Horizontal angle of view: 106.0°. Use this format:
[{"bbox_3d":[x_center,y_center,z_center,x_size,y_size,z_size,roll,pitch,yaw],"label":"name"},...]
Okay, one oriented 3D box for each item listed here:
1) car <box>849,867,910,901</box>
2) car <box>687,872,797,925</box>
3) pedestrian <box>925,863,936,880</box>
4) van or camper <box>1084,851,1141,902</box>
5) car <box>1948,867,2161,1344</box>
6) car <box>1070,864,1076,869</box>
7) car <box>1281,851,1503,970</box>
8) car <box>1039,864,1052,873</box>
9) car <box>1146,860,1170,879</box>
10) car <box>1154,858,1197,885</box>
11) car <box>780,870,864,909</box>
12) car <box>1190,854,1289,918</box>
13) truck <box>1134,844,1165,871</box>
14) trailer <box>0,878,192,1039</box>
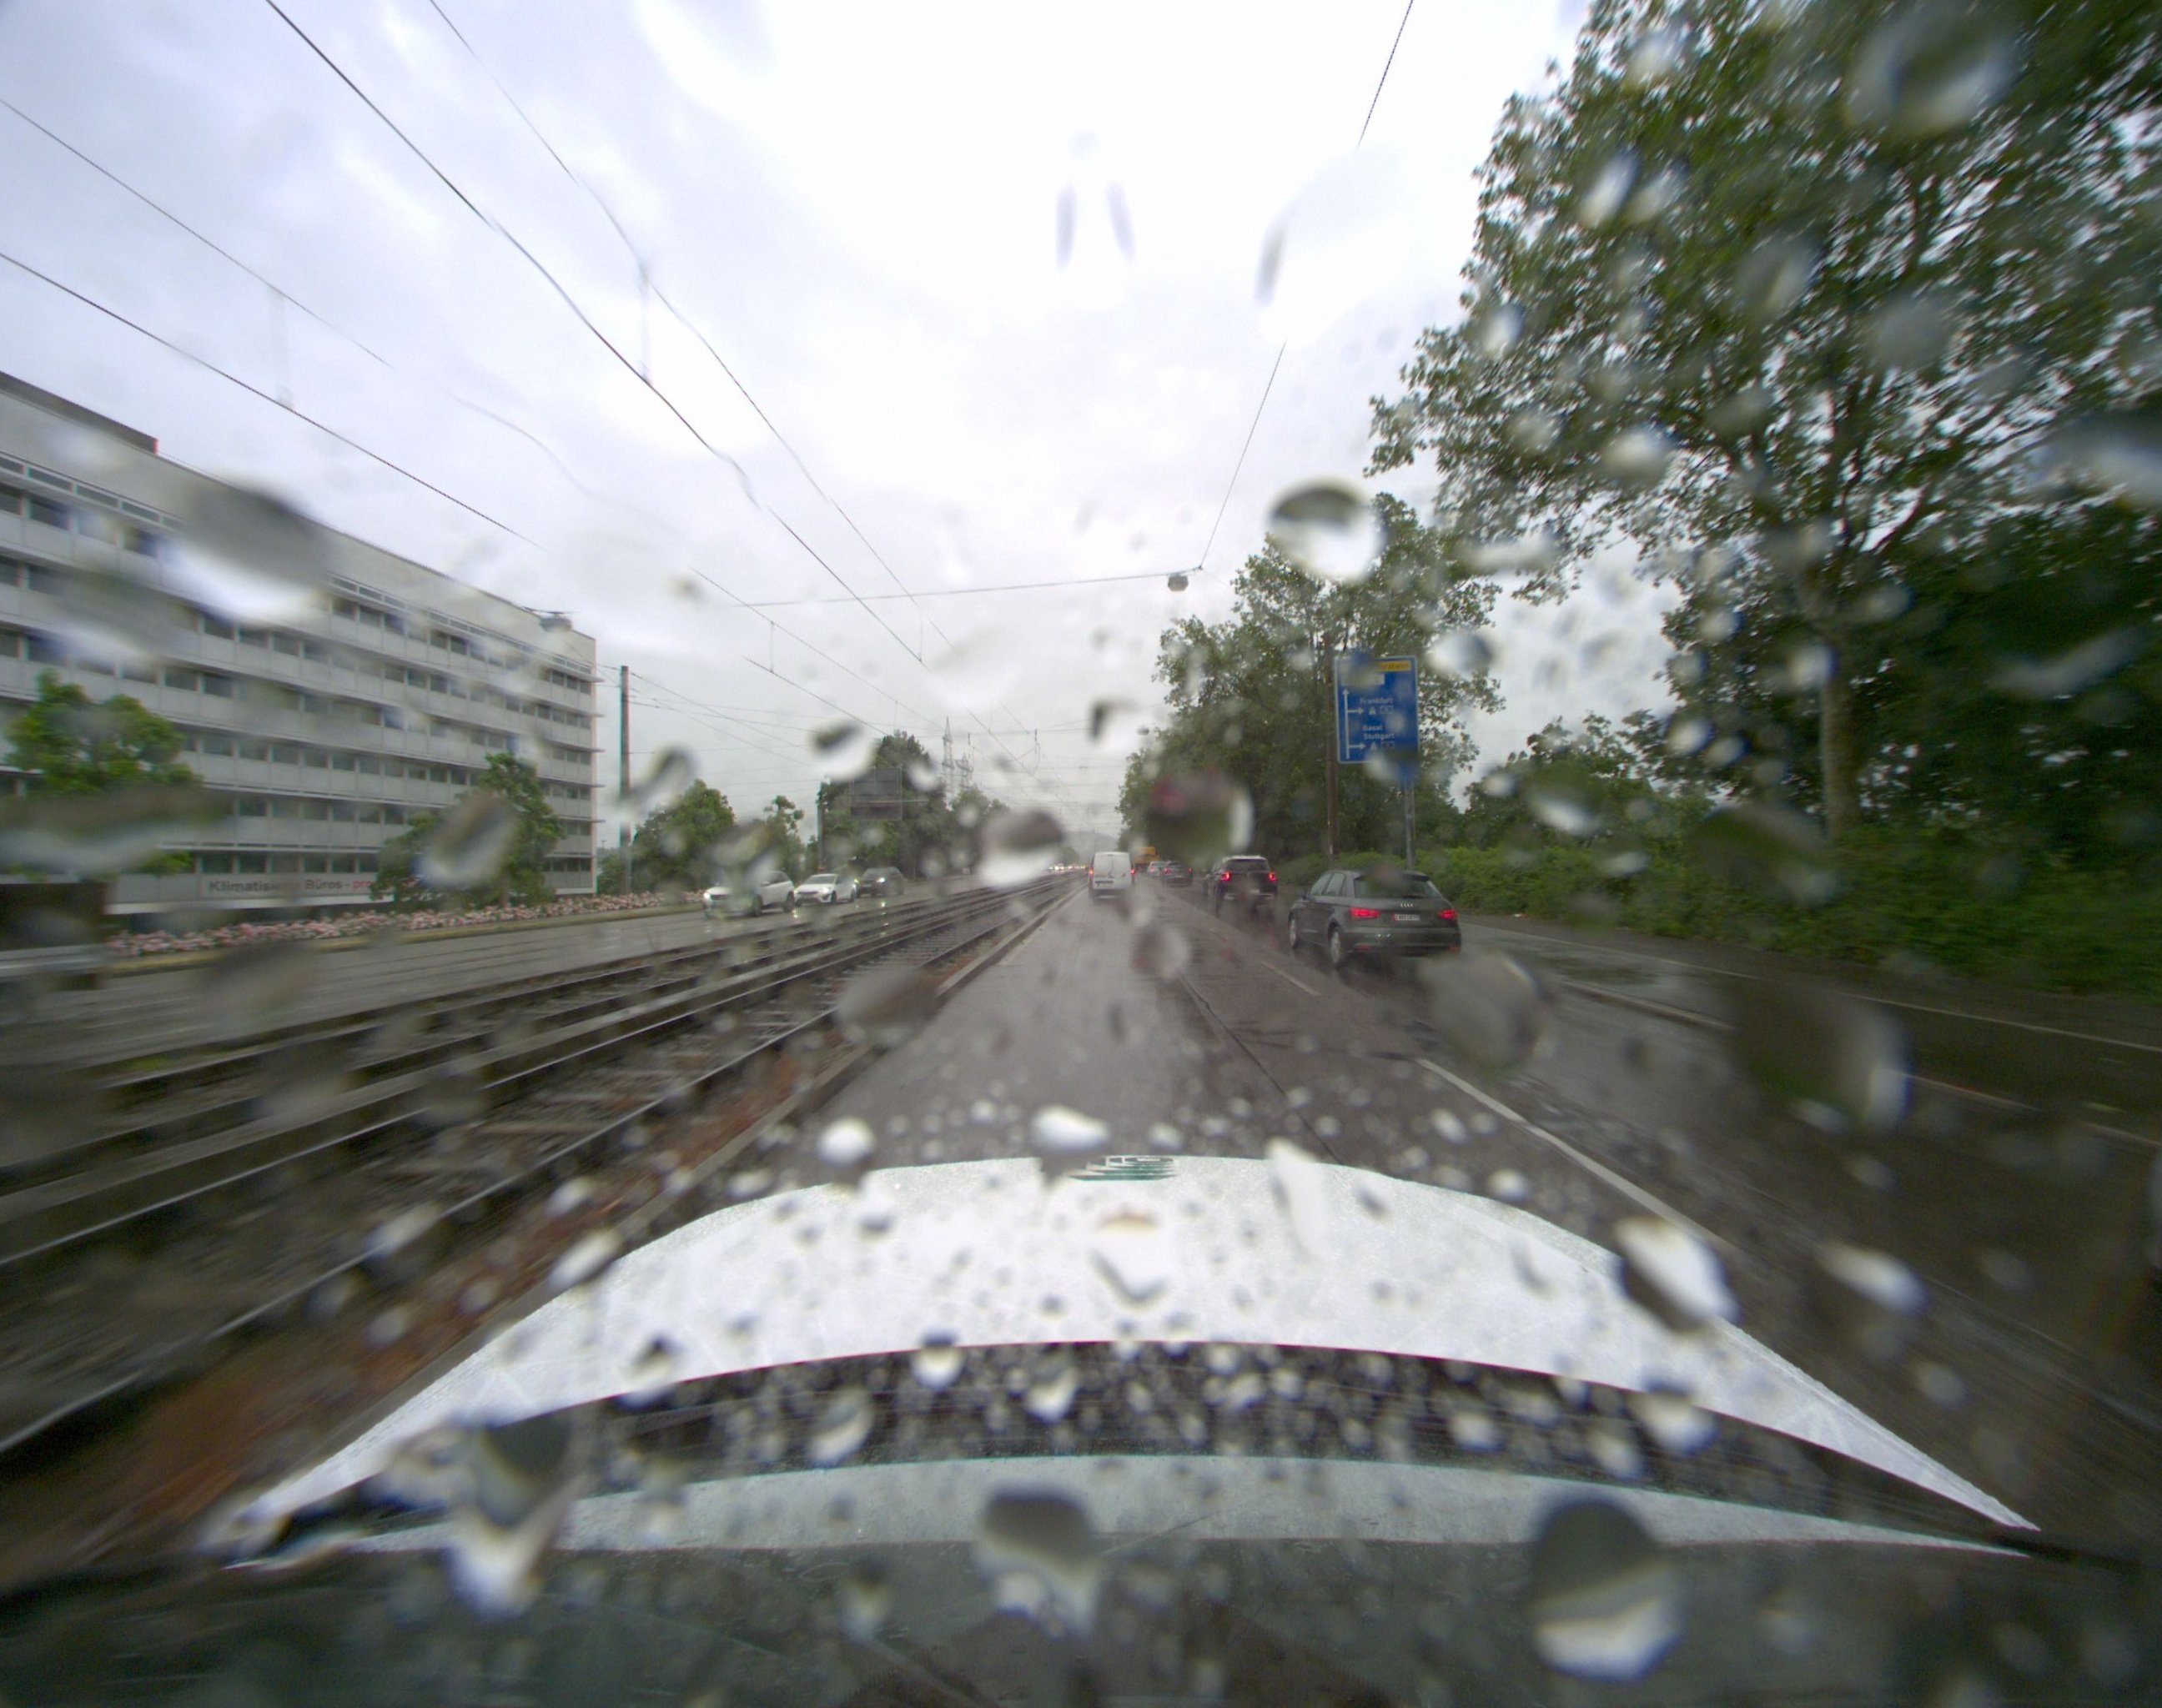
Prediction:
[{"bbox_3d":[-11.431,1.641,46.517,1.985,1.721,4.885,-2,0,3],"label":"car"},{"bbox_3d":[-12.273,1.549,29.830,1.763,1.683,4.694,1,-1,4],"label":"car"},{"bbox_3d":[-16.136,1.836,87.253,0.848,1.759,1.121,-2,-1,2],"label":"pedestrian"},{"bbox_3d":[1.127,0.785,31.000,1.987,1.784,4.000,0,1,0],"label":"van or camper"},{"bbox_3d":[4.089,0.742,1.108,1.785,1.414,3.854,2,-1,1],"label":"car"},{"bbox_3d":[-2.389,3.703,248.218,1.650,1.486,4.017,-1,-1,4],"label":"car"},{"bbox_3d":[4.514,0.727,12.534,1.961,1.528,3.991,0,0,1],"label":"car"},{"bbox_3d":[-6.937,2.797,158.039,1.985,1.618,4.258,-2,-1,4],"label":"car"},{"bbox_3d":[6.276,1.252,66.545,1.810,1.414,3.781,0,0,3],"label":"car"},{"bbox_3d":[5.303,0.973,46.260,1.814,1.414,3.774,0,0,-3],"label":"car"},{"bbox_3d":[-11.939,1.597,37.954,1.984,1.583,4.772,-2,0,5],"label":"car"},{"bbox_3d":[4.679,0.880,24.774,1.895,1.717,4.721,0,0,-3],"label":"car"},{"bbox_3d":[7.345,0.400,88.077,3.101,2.773,6.332,-1,0,2],"label":"truck"},{"bbox_3d":[-13.534,1.228,9.432,2.110,1.793,3.839,1,-1,3],"label":"trailer"}]
